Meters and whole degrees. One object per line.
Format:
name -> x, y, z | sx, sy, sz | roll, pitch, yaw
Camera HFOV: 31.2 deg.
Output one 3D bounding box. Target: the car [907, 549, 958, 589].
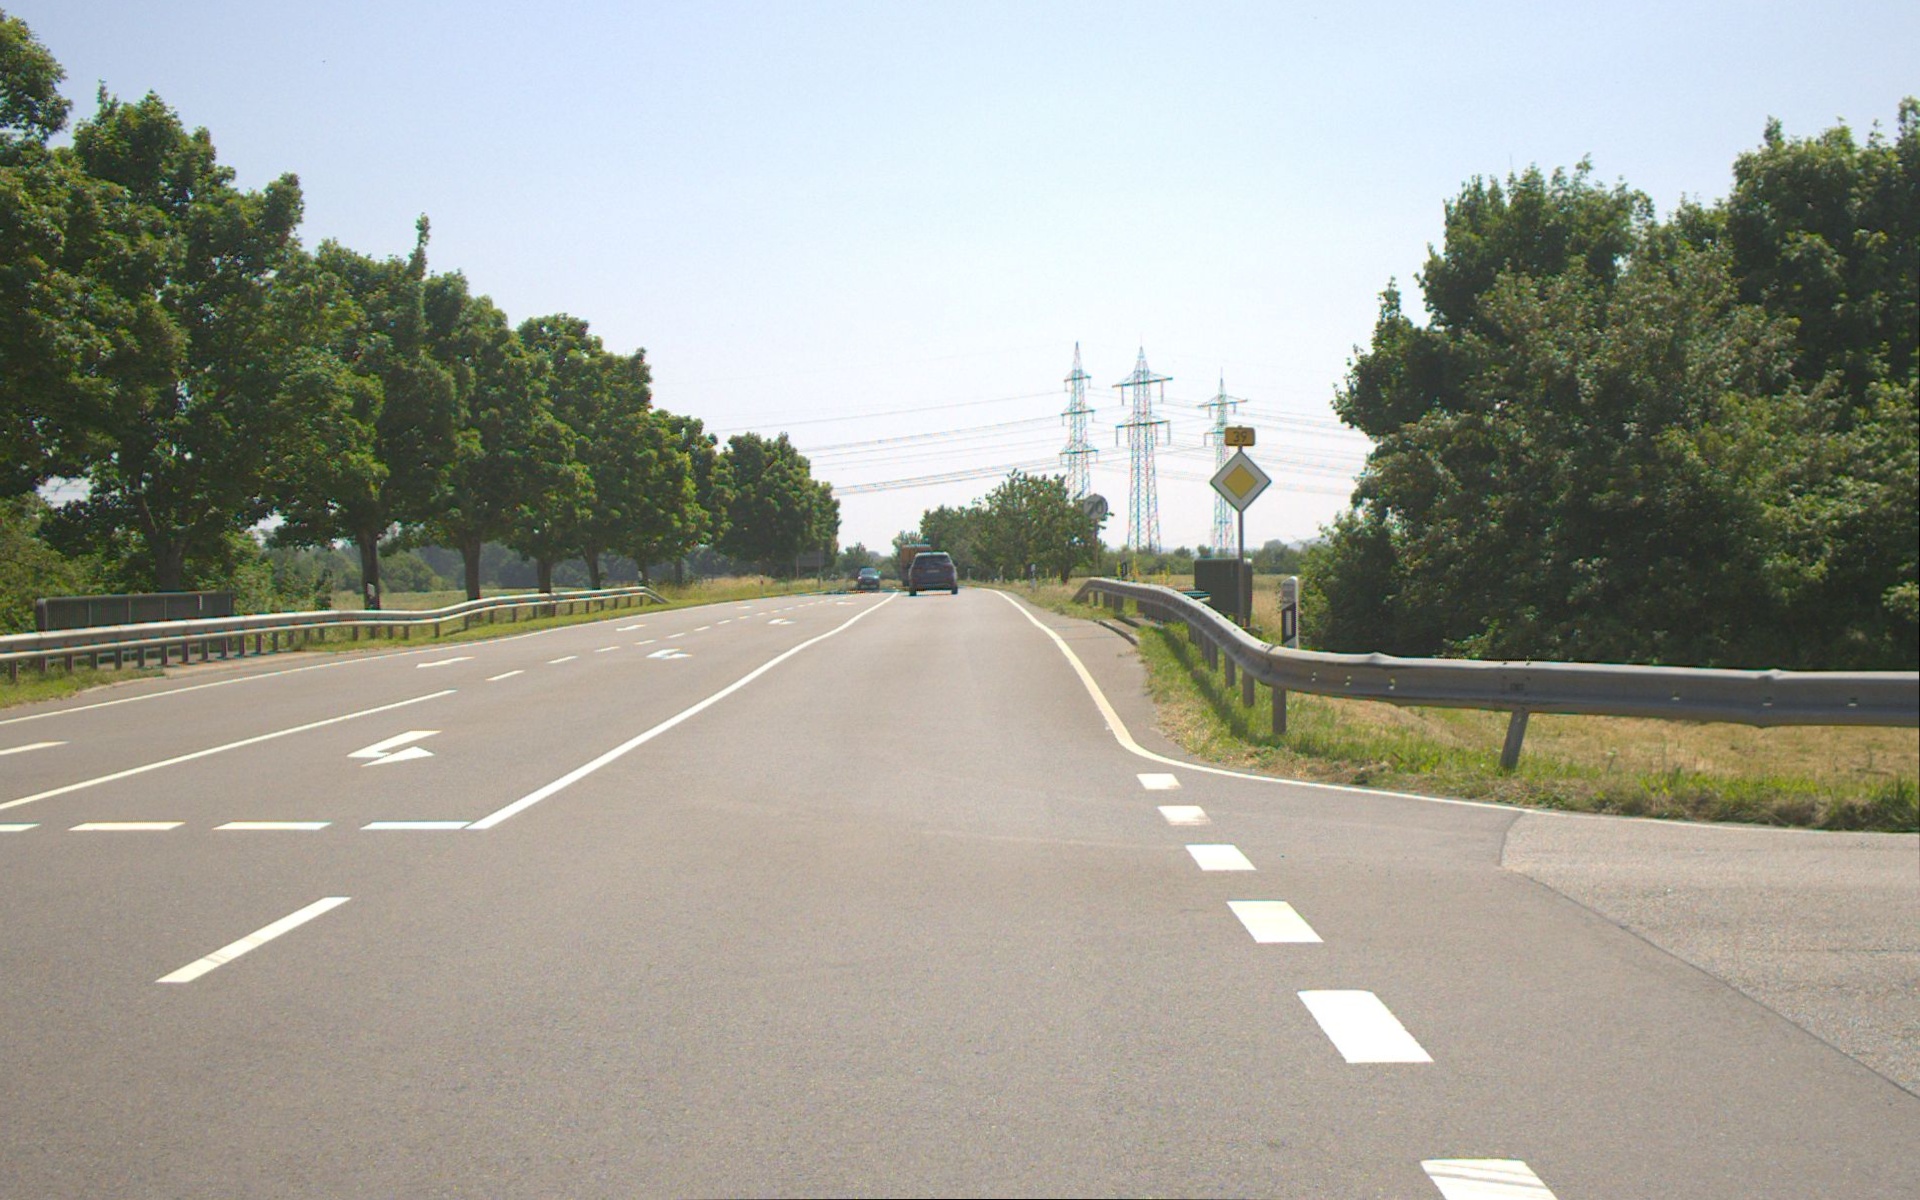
car -> -1.105, -1.222, 135.126 | 1.884, 1.513, 4.040 | 1, 1, -2
